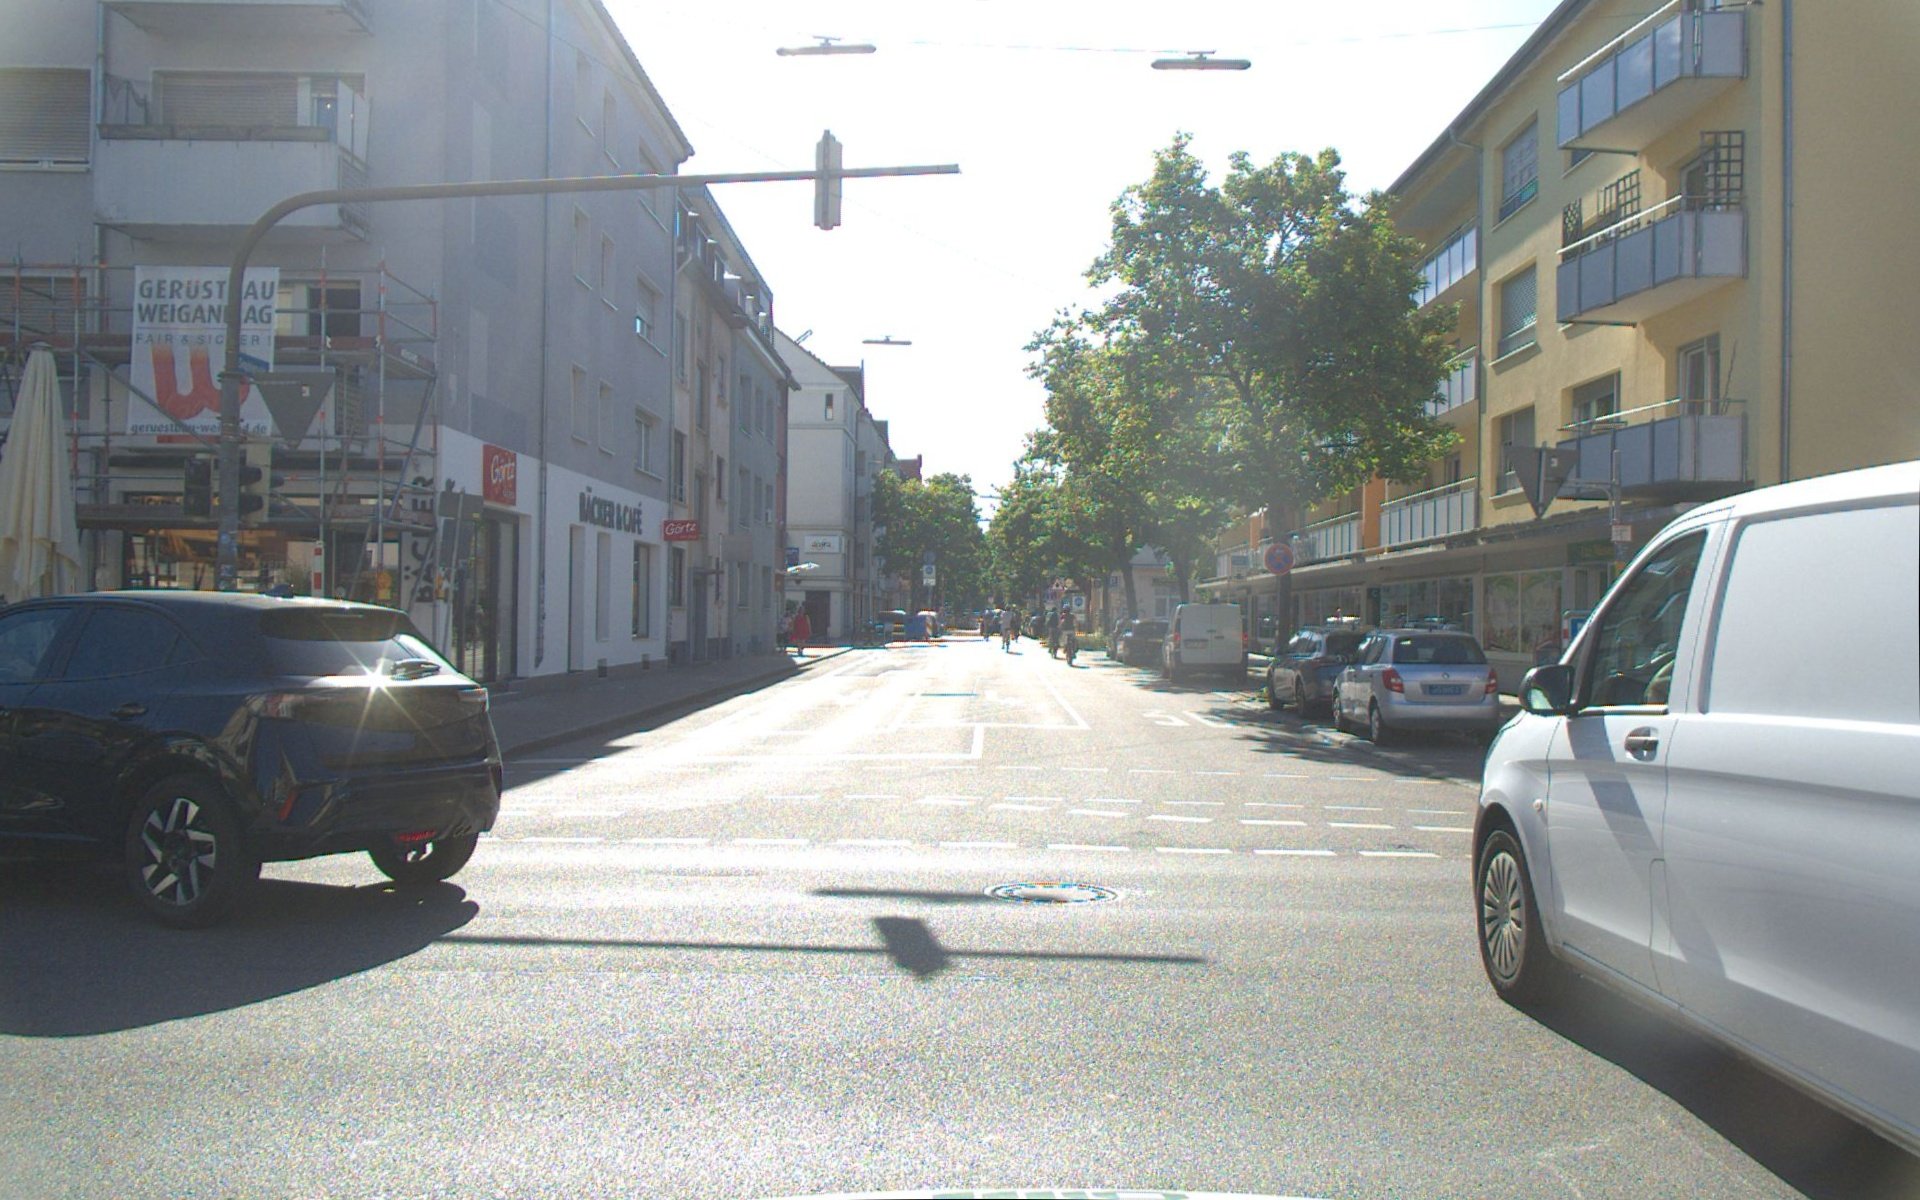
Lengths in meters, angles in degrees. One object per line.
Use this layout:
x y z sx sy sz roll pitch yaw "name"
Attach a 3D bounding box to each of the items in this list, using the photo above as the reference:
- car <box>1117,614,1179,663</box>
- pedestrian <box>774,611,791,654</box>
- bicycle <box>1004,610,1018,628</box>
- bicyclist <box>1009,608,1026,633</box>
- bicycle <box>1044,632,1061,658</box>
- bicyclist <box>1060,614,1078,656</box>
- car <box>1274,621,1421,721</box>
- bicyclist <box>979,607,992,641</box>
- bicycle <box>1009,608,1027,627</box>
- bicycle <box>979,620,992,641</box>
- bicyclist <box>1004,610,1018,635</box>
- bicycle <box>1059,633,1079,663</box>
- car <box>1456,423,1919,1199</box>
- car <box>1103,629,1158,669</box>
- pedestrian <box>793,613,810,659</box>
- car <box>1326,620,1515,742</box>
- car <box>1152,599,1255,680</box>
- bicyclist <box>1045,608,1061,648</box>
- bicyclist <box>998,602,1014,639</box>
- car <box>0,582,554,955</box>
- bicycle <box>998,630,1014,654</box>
6.085 1.231 53.725 1.677 1.509 3.381 1 0 1 "car"
-6.171 1.116 57.615 0.565 1.493 0.702 1 -1 -5 "pedestrian"
2.556 0.949 82.746 0.677 0.881 1.876 1 0 2 "bicycle"
3.159 1.126 90.743 0.838 1.337 1.210 3 -1 0 "bicyclist"
3.298 1.590 59.046 0.535 0.881 1.876 1 0 2 "bicycle"
3.362 1.086 51.039 0.535 1.284 0.803 1 -1 2 "bicyclist"
6.342 1.127 27.409 1.677 1.509 3.381 1 0 1 "car"
1.267 1.206 82.804 0.619 1.698 1.050 0 -1 0 "bicyclist"
3.168 0.964 90.644 0.838 0.961 2.307 3 0 0 "bicycle"
1.296 1.533 83.151 0.619 1.059 1.795 0 0 0 "bicycle"
2.544 1.121 82.696 0.677 1.214 0.595 1 -1 1 "bicyclist"
3.355 1.465 50.962 0.535 0.881 1.876 1 0 2 "bicycle"
3.026 0.558 4.347 1.928 1.842 4.831 1 -1 -1 "car"
6.121 1.745 59.747 1.677 1.337 3.381 1 0 1 "car"
-5.509 1.244 57.370 0.565 1.611 0.707 1 -1 -5 "pedestrian"
6.242 1.054 22.775 1.677 1.509 3.480 1 0 1 "car"
6.018 0.951 41.318 2.003 1.879 4.585 1 0 2 "car"
3.305 0.985 59.090 0.535 1.407 0.823 1 -1 2 "bicyclist"
1.774 0.773 63.695 0.576 1.407 0.823 1 -1 1 "bicyclist"
-4.279 0.721 8.652 3.907 1.586 1.767 0 -1 24 "car"
1.769 1.614 63.671 0.607 0.881 1.876 1 0 2 "bicycle"
